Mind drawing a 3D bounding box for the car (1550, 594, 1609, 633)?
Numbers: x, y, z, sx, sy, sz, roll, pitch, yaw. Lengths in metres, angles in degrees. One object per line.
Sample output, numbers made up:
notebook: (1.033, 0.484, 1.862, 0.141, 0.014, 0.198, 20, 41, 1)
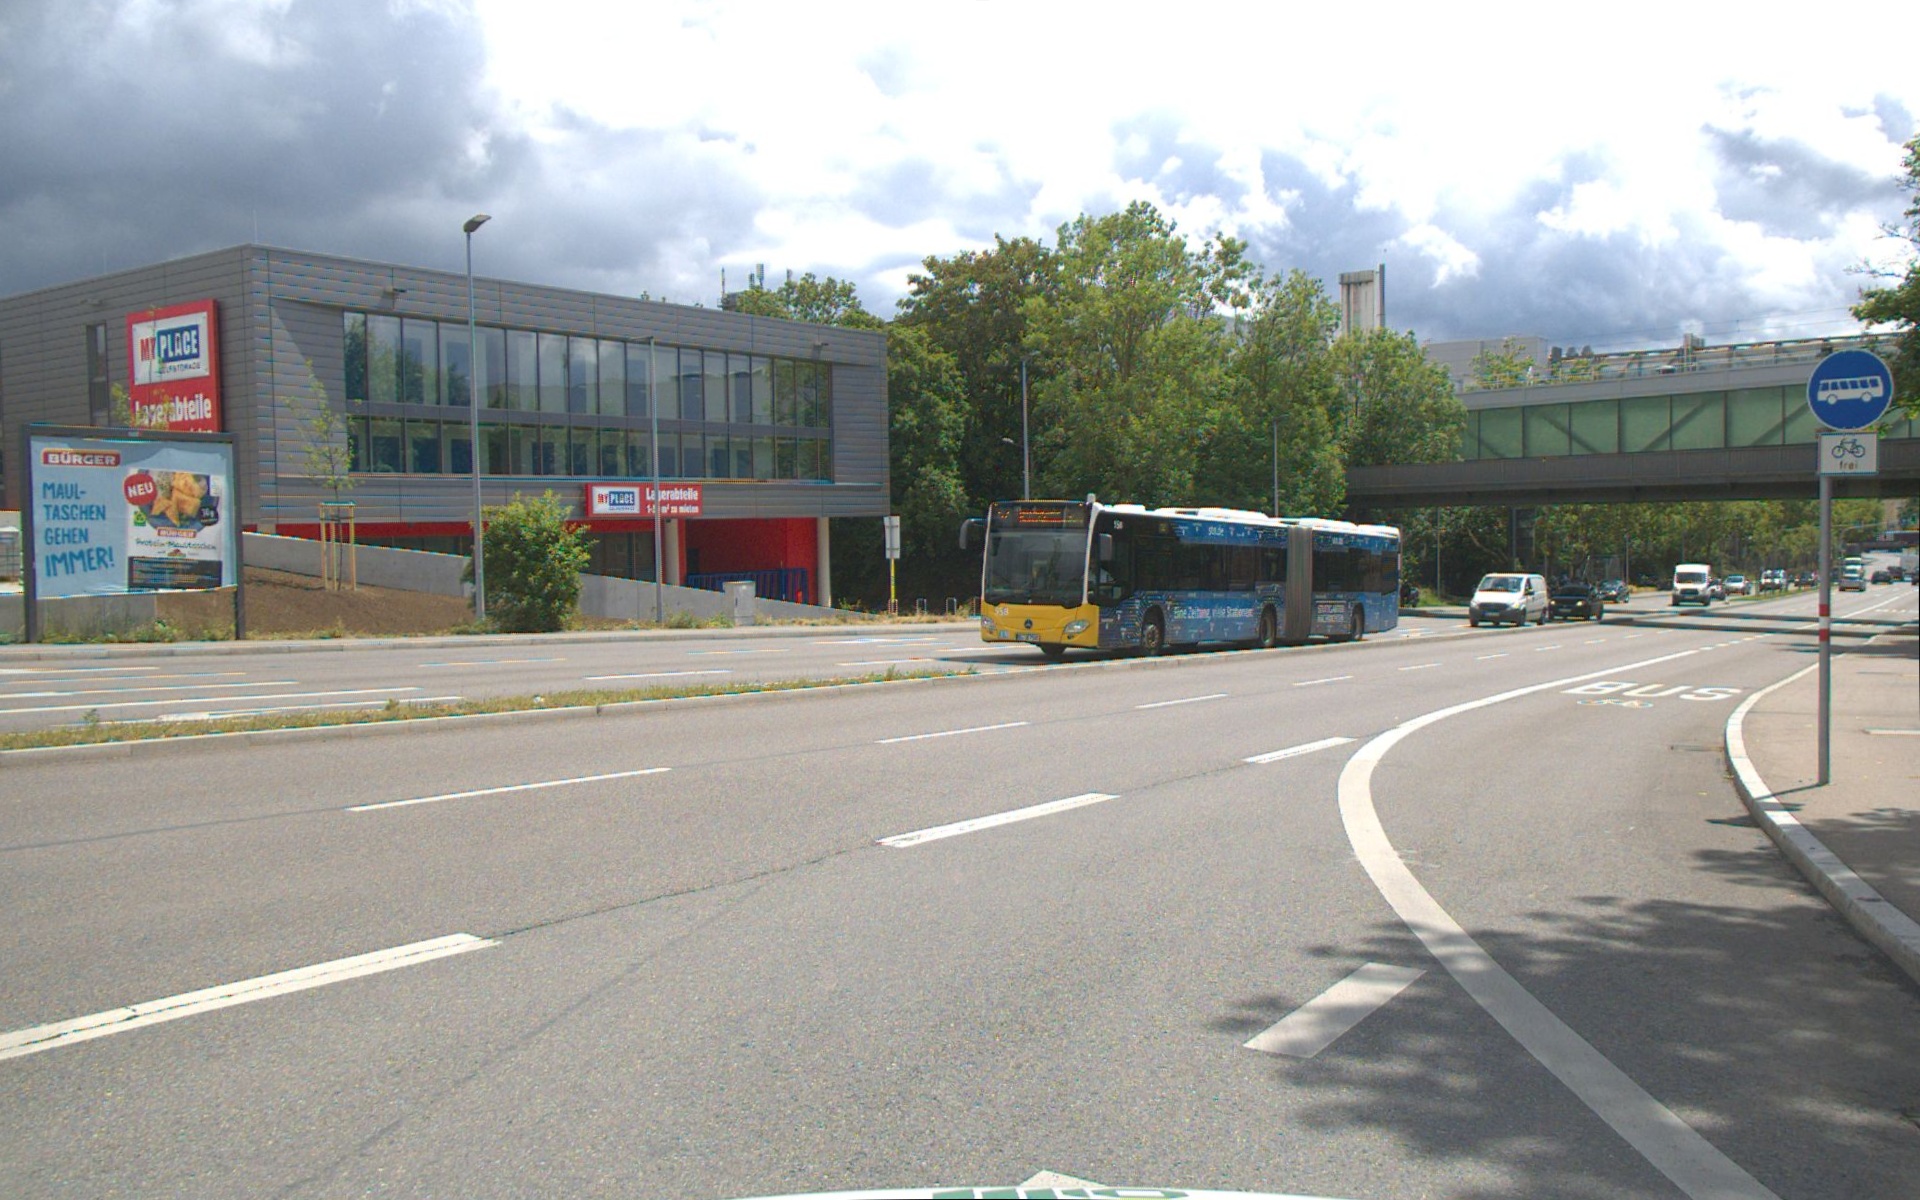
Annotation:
car: (26.369, 0.558, 70.330, 1.608, 1.496, 3.766, 2, 2, 33)

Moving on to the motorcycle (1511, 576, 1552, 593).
motorcycle: (38.776, -1.073, 112.274, 2.512, 1.068, 0.671, 2, 1, 39)

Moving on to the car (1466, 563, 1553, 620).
car: (19.856, -0.348, 59.654, 1.844, 1.958, 4.737, 2, 2, 33)

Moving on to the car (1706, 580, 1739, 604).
car: (52.491, -0.572, 113.872, 1.670, 1.548, 3.066, 2, 1, 32)

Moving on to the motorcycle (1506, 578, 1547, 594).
motorcycle: (38.043, -0.949, 111.068, 2.512, 1.068, 0.671, 2, 1, 39)

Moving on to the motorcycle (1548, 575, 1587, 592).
motorcycle: (43.557, -1.192, 118.545, 0.789, 1.126, 2.543, 0, 1, -45)

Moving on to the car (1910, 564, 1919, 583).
car: (97.156, -2.634, 167.006, 1.957, 1.892, 3.991, 1, 1, 32)

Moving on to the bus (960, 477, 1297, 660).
bus: (3.933, -0.632, 35.175, 2.766, 3.342, 10.090, 2, 1, 33)

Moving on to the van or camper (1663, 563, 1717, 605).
van or camper: (44.492, -0.976, 100.771, 1.973, 2.443, 6.380, 1, 1, 33)

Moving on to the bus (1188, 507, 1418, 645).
bus: (9.135, -0.687, 43.099, 2.766, 3.219, 8.882, 2, 2, 33)

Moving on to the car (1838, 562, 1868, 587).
car: (76.744, -2.226, 142.102, 1.896, 1.801, 3.991, 1, 5, 33)

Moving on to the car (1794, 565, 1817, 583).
car: (84.100, -2.611, 164.460, 1.670, 1.728, 3.914, 2, 1, 32)

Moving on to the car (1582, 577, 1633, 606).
car: (40.689, -0.510, 103.856, 1.961, 1.780, 3.983, 1, 0, 37)

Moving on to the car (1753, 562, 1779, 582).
car: (68.753, -2.392, 141.057, 1.670, 1.728, 3.915, 2, 1, 31)

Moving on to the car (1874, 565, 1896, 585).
car: (94.763, -2.585, 169.383, 1.824, 1.734, 3.994, 0, 7, 31)
